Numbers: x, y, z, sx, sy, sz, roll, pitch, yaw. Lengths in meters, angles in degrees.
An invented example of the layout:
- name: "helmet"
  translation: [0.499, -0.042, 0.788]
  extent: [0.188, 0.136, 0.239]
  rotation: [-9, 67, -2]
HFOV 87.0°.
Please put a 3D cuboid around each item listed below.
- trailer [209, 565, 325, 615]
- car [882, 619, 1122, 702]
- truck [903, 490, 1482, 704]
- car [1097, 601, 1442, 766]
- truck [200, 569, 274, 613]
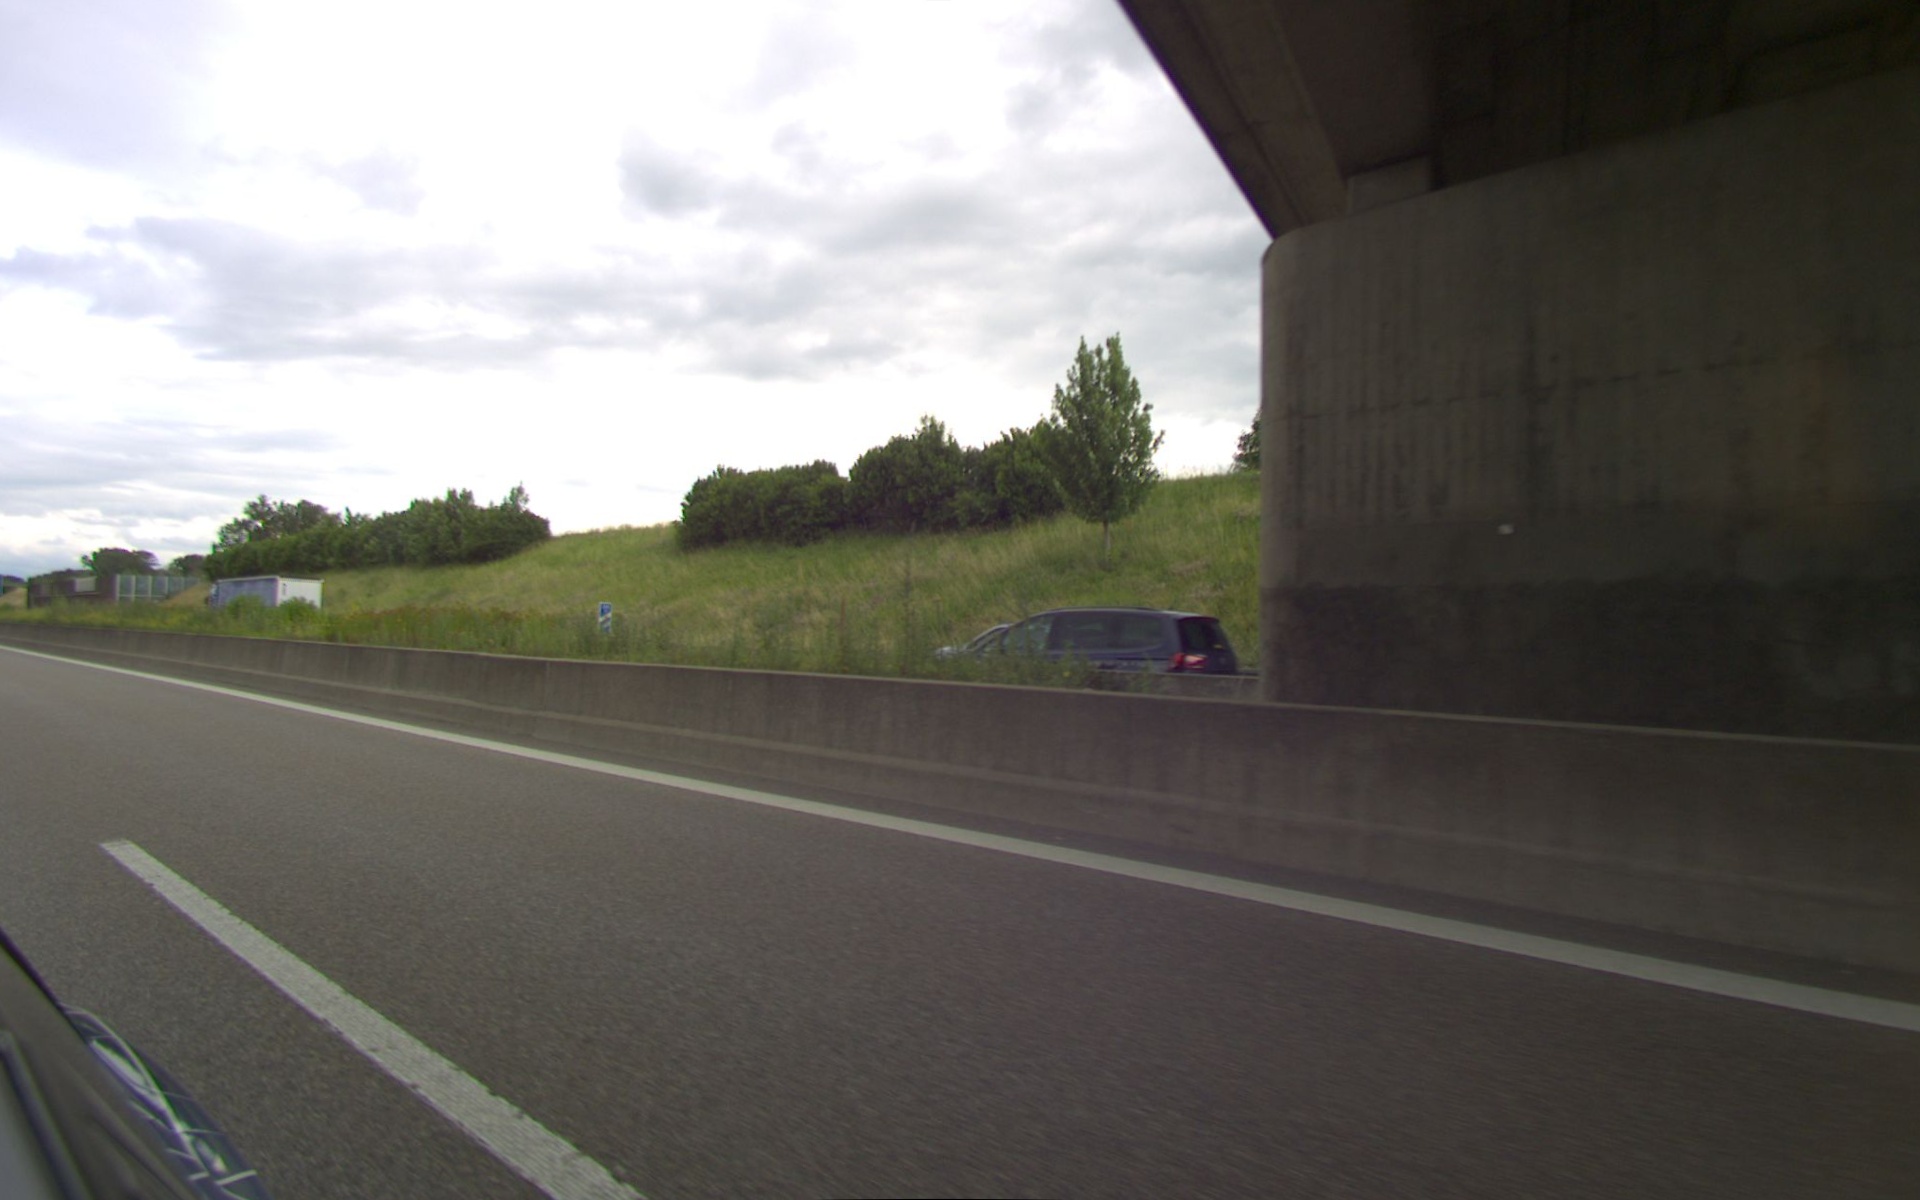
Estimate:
- name: "trailer"
  translation: [-45.932, -0.628, 66.771]
  extent: [13.964, 2.977, 2.891]
  rotation: [0, 1, 41]
- name: "car"
  translation: [0.763, 1.164, 20.823]
  extent: [4.918, 1.496, 1.709]
  rotation: [-1, -2, 39]
- name: "truck"
  translation: [4.368, -0.069, 22.948]
  extent: [13.002, 3.711, 2.966]
  rotation: [0, 0, 41]
- name: "car"
  translation: [3.864, 0.944, 12.937]
  extent: [3.842, 1.791, 1.806]
  rotation: [-1, -2, 39]
- name: "truck"
  translation: [-50.804, -0.628, 71.060]
  extent: [6.112, 2.968, 2.880]
  rotation: [0, 1, 41]
